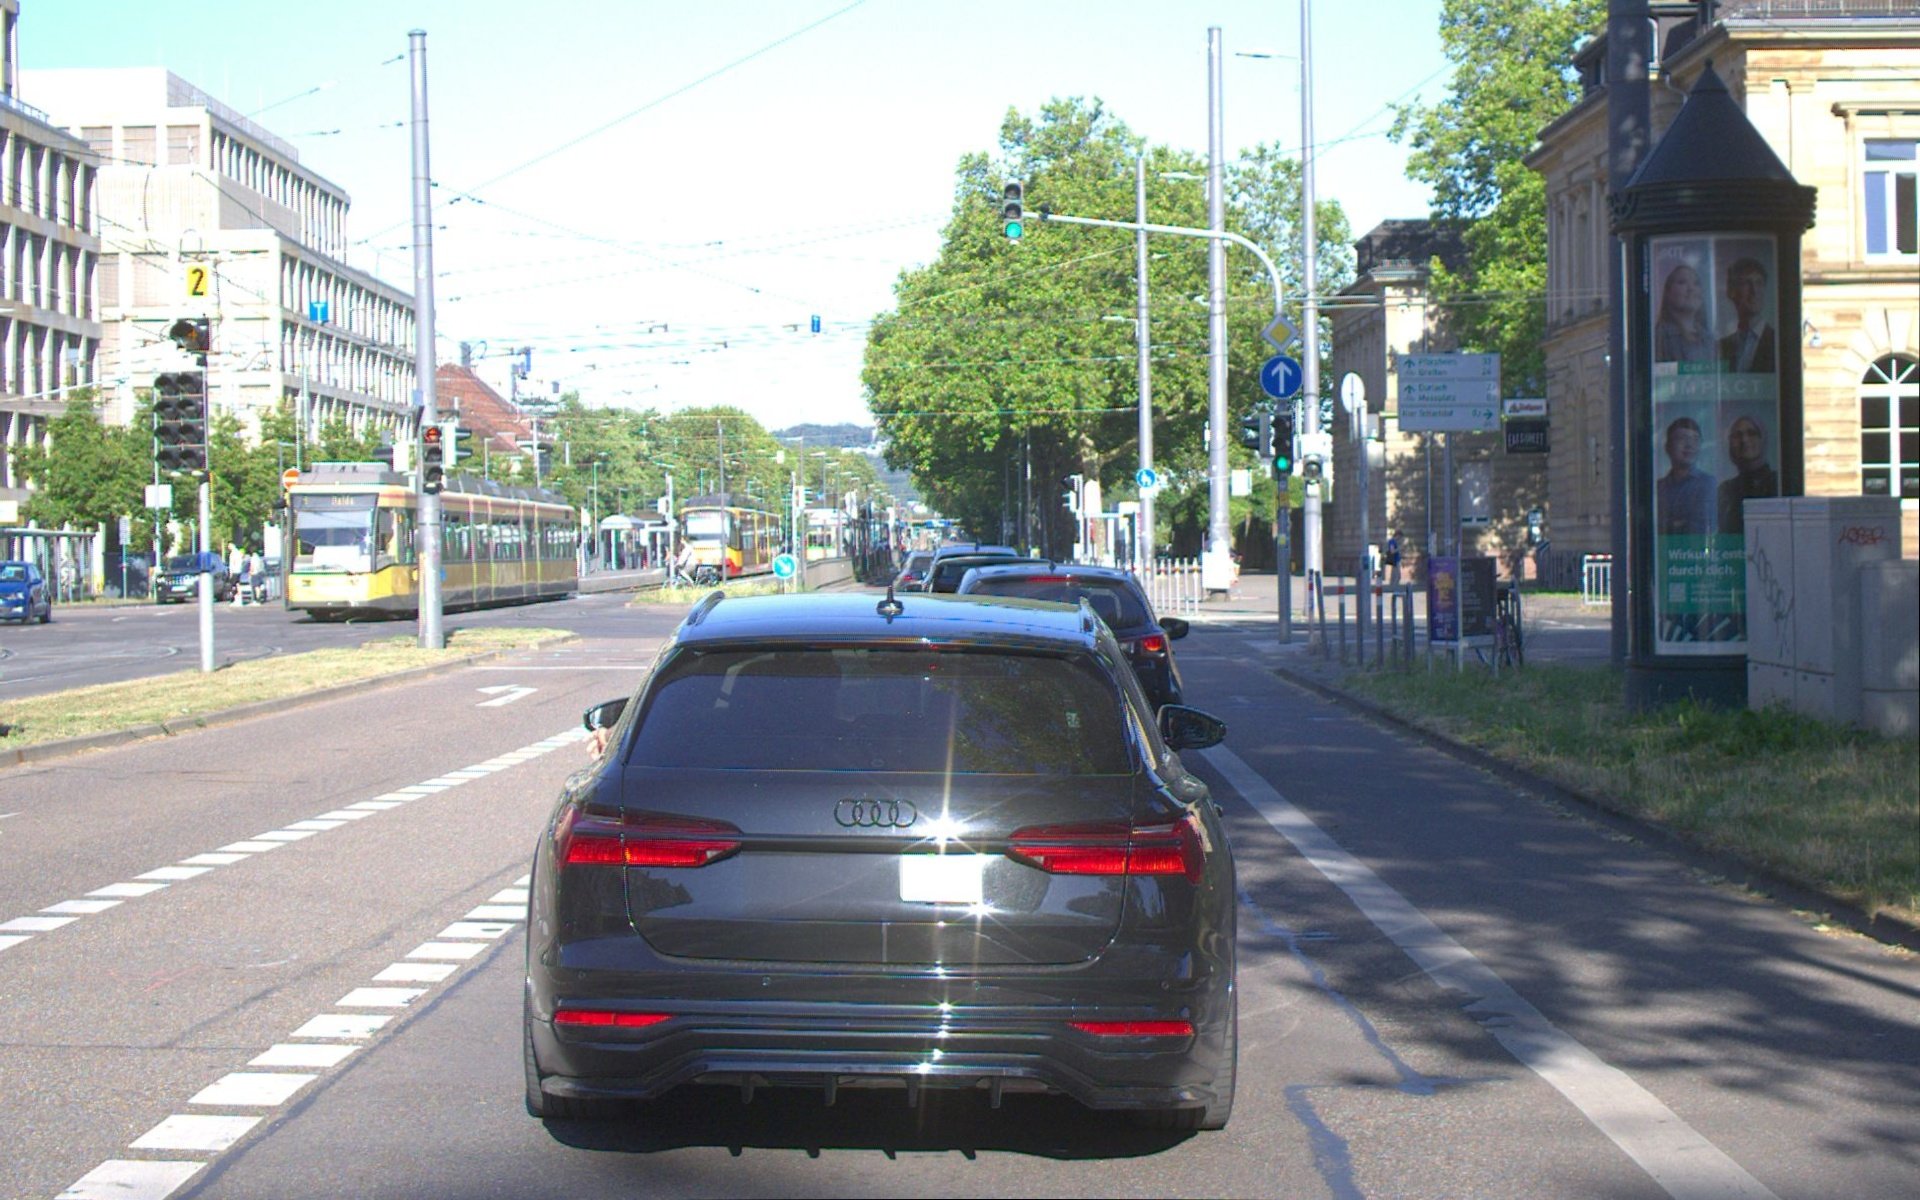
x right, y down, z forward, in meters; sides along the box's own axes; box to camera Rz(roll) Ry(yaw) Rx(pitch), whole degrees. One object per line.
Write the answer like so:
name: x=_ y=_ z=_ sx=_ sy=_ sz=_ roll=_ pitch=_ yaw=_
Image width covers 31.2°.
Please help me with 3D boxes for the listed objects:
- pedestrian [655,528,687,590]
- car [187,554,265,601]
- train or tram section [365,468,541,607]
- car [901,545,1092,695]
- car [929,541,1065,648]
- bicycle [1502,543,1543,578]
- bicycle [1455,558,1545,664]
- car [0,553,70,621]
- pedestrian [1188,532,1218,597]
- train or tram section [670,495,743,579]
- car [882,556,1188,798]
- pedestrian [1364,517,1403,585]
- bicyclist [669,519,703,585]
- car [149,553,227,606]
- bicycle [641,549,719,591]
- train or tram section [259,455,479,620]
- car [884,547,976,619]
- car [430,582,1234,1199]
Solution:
pedestrian: x=-8.102 y=-1.153 z=96.516 sx=0.739 sy=1.735 sz=0.664 roll=-1 pitch=1 yaw=-18
car: x=-24.100 y=-0.758 z=113.031 sx=1.820 sy=1.452 sz=4.157 roll=-1 pitch=1 yaw=-3
train or tram section: x=-13.591 y=-1.688 z=93.289 sx=2.813 sy=3.477 sz=13.204 roll=-1 pitch=1 yaw=0
car: x=0.373 y=0.164 z=36.401 sx=1.902 sy=1.481 sz=4.145 roll=0 pitch=1 yaw=0
car: x=0.529 y=-0.110 z=50.319 sx=1.902 sy=1.481 sz=4.145 roll=0 pitch=1 yaw=0
bicycle: x=16.910 y=-1.202 z=103.409 sx=0.526 sy=1.043 sz=2.360 roll=-1 pitch=1 yaw=-8
bicycle: x=5.614 y=0.105 z=35.797 sx=0.540 sy=1.058 sz=1.772 roll=-1 pitch=1 yaw=-4
car: x=-21.296 y=-0.298 z=76.842 sx=1.820 sy=1.452 sz=4.157 roll=-1 pitch=1 yaw=-2
pedestrian: x=6.225 y=-0.914 z=88.130 sx=0.682 sy=1.655 sz=0.758 roll=-1 pitch=1 yaw=-2
train or tram section: x=-10.824 y=-2.703 z=147.643 sx=2.608 sy=3.439 sz=11.133 roll=-1 pitch=1 yaw=-2
car: x=0.480 y=0.458 z=23.537 sx=1.902 sy=1.481 sz=4.145 roll=0 pitch=1 yaw=0
pedestrian: x=11.687 y=-1.359 z=94.843 sx=0.979 sy=1.859 sz=0.827 roll=-1 pitch=1 yaw=2
bicyclist: x=-7.579 y=-1.331 z=94.993 sx=0.756 sy=1.812 sz=0.765 roll=-1 pitch=1 yaw=-18
car: x=-27.320 y=-0.736 z=121.752 sx=1.842 sy=1.806 sz=4.113 roll=-1 pitch=1 yaw=-1
bicycle: x=-7.728 y=-0.839 z=94.934 sx=2.005 sy=1.104 sz=0.765 roll=-1 pitch=1 yaw=-18
train or tram section: x=-13.554 y=-1.454 z=80.075 sx=2.813 sy=3.477 sz=13.204 roll=-1 pitch=1 yaw=0
car: x=-0.620 y=-0.388 z=73.441 sx=1.902 sy=1.481 sz=4.145 roll=0 pitch=1 yaw=0
car: x=-0.291 y=0.687 z=10.222 sx=1.902 sy=1.417 sz=4.145 roll=0 pitch=1 yaw=0
